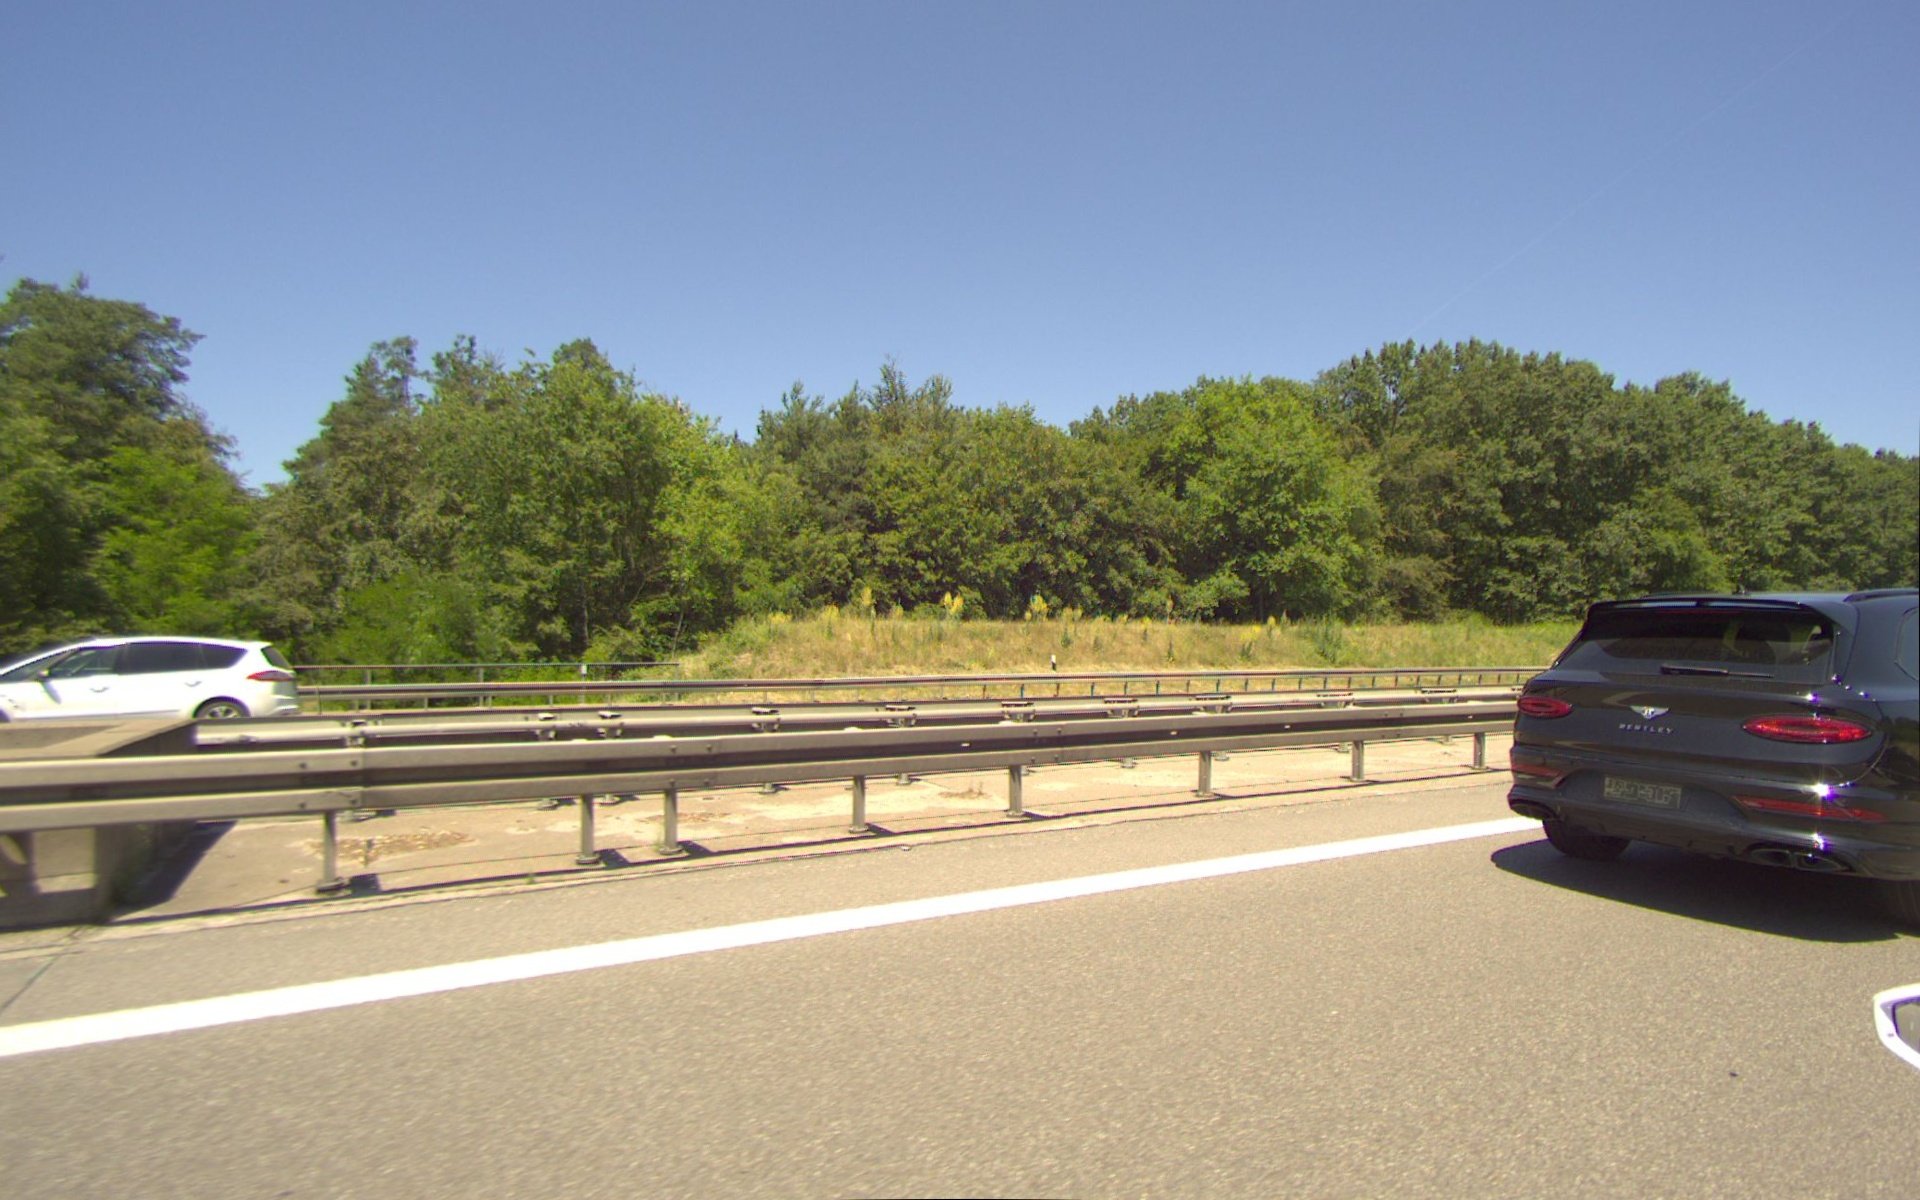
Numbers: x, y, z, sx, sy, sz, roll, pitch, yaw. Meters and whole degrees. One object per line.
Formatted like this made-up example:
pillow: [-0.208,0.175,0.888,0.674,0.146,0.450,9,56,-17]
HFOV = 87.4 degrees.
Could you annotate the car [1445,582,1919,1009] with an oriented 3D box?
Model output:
car: [5.788,0.864,6.486,5.745,1.775,1.931,1,-1,-30]

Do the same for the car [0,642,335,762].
car: [-12.864,1.556,15.775,5.055,1.682,1.695,1,-5,-30]

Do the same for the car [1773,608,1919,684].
car: [33.940,1.767,38.063,7.453,2.658,2.157,1,-5,-30]
